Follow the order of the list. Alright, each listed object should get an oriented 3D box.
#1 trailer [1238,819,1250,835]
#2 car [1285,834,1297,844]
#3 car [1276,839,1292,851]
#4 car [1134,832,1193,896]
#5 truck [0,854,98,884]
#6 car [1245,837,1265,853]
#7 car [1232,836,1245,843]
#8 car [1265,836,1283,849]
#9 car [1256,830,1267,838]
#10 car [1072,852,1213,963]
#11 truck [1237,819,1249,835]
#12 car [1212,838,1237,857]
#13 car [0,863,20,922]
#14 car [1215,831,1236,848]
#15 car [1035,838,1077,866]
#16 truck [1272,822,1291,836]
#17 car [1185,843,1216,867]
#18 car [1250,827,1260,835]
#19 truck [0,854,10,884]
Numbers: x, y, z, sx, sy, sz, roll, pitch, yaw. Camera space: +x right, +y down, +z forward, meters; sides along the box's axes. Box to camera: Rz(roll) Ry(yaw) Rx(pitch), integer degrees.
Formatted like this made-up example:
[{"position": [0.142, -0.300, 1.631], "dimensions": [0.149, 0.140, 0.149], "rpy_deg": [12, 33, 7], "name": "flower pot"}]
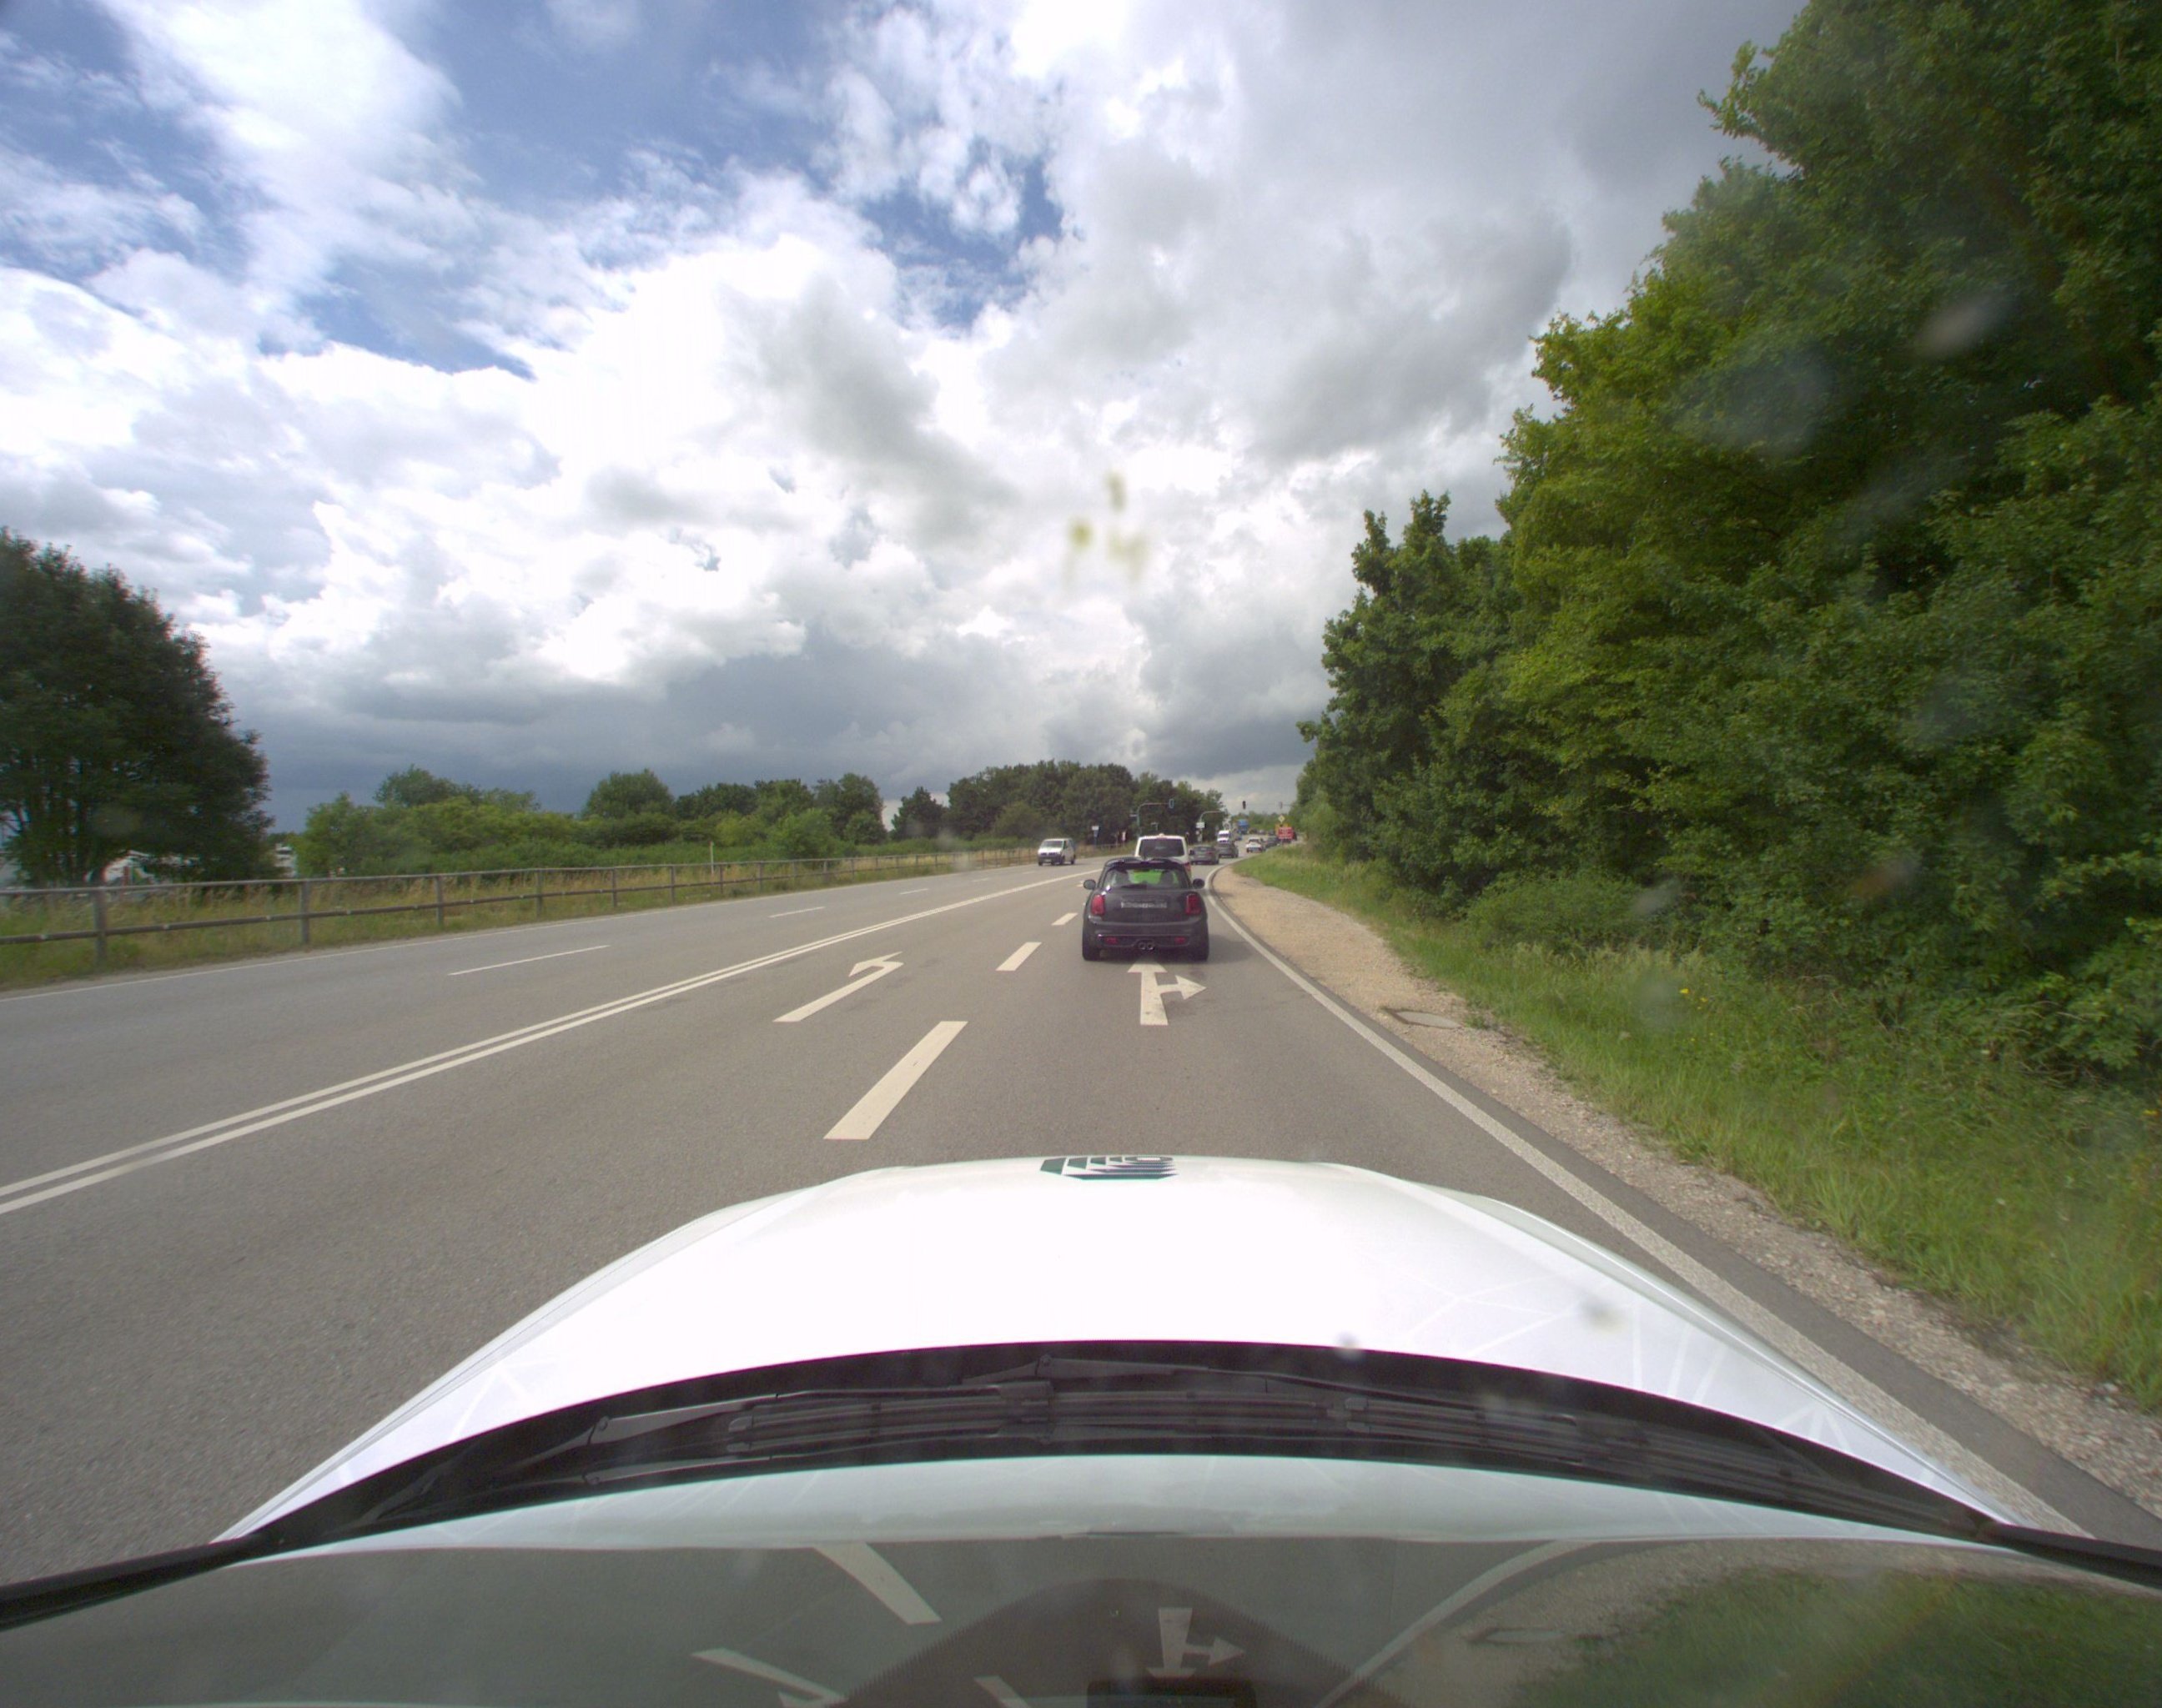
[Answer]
[{"position": [44.528, -7.338, 222.240], "dimensions": [2.508, 4.100, 6.765], "rpy_deg": [-1, 1, 17], "name": "trailer"}, {"position": [36.315, -2.545, 141.020], "dimensions": [1.979, 1.695, 4.503], "rpy_deg": [0, 0, 15], "name": "car"}, {"position": [30.924, -1.425, 124.134], "dimensions": [1.978, 1.695, 4.507], "rpy_deg": [-1, 1, 18], "name": "car"}, {"position": [2.754, 0.319, 27.350], "dimensions": [1.836, 1.987, 3.846], "rpy_deg": [0, 0, 5], "name": "car"}, {"position": [-73.249, 0.995, 56.472], "dimensions": [1.980, 2.014, 6.251], "rpy_deg": [0, 0, 12], "name": "truck"}, {"position": [19.584, -1.028, 91.458], "dimensions": [1.979, 1.684, 4.016], "rpy_deg": [0, 0, 15], "name": "car"}, {"position": [33.664, -3.048, 174.165], "dimensions": [1.928, 1.441, 4.023], "rpy_deg": [-1, 1, 25], "name": "car"}, {"position": [25.344, -1.519, 107.053], "dimensions": [1.978, 1.684, 4.018], "rpy_deg": [0, 0, 18], "name": "car"}, {"position": [46.970, -5.238, 211.685], "dimensions": [2.171, 2.014, 4.005], "rpy_deg": [0, 0, 4], "name": "car"}, {"position": [0.973, 0.704, 12.622], "dimensions": [1.836, 1.428, 3.846], "rpy_deg": [0, 0, 5], "name": "car"}, {"position": [43.517, -7.262, 218.946], "dimensions": [2.520, 4.095, 4.018], "rpy_deg": [-1, 1, 17], "name": "truck"}, {"position": [13.163, -0.578, 74.596], "dimensions": [1.979, 1.684, 3.993], "rpy_deg": [0, 0, 15], "name": "car"}, {"position": [-34.405, 1.160, 23.342], "dimensions": [4.577, 1.734, 1.990], "rpy_deg": [0, 0, -15], "name": "car"}, {"position": [23.959, -2.442, 134.716], "dimensions": [2.414, 2.674, 6.922], "rpy_deg": [0, 1, 19], "name": "car"}, {"position": [-1.810, -0.171, 60.479], "dimensions": [1.980, 2.013, 4.684], "rpy_deg": [-1, 0, 13], "name": "car"}, {"position": [44.164, -5.388, 179.603], "dimensions": [2.704, 2.897, 8.783], "rpy_deg": [-1, 1, 4], "name": "truck"}, {"position": [8.586, 0.058, 58.770], "dimensions": [1.983, 1.684, 4.007], "rpy_deg": [0, 0, 6], "name": "car"}, {"position": [49.269, -6.436, 230.530], "dimensions": [1.985, 2.014, 4.004], "rpy_deg": [0, 0, 3], "name": "car"}, {"position": [-74.242, 0.968, 51.830], "dimensions": [1.980, 2.014, 7.157], "rpy_deg": [0, 0, 12], "name": "truck"}]
